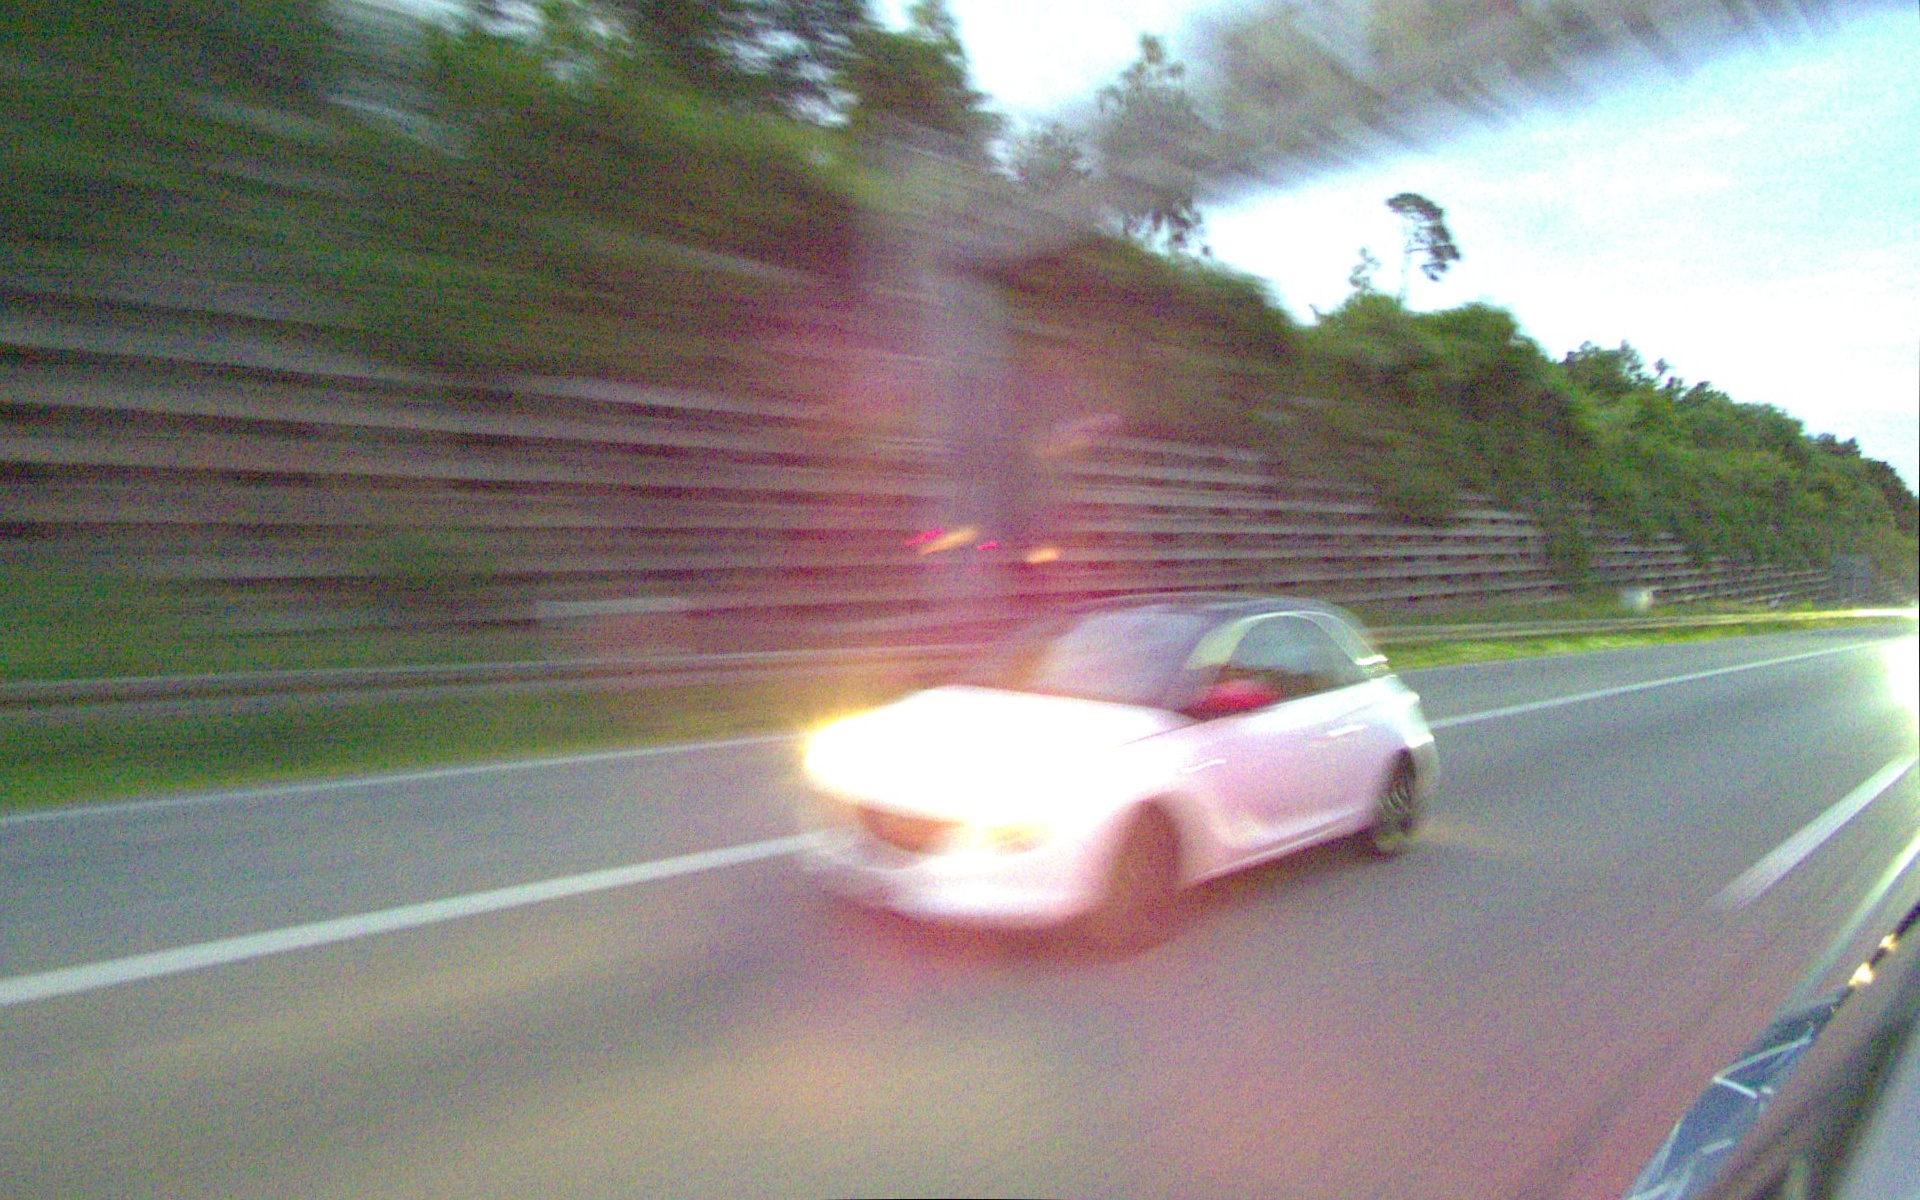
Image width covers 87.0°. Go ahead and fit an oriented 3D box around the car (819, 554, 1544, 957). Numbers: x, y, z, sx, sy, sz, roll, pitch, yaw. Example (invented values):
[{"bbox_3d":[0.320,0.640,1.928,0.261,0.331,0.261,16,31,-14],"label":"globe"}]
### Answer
[{"bbox_3d":[1.536,0.612,5.873,4.320,1.494,1.830,2,1,-40],"label":"car"}]
